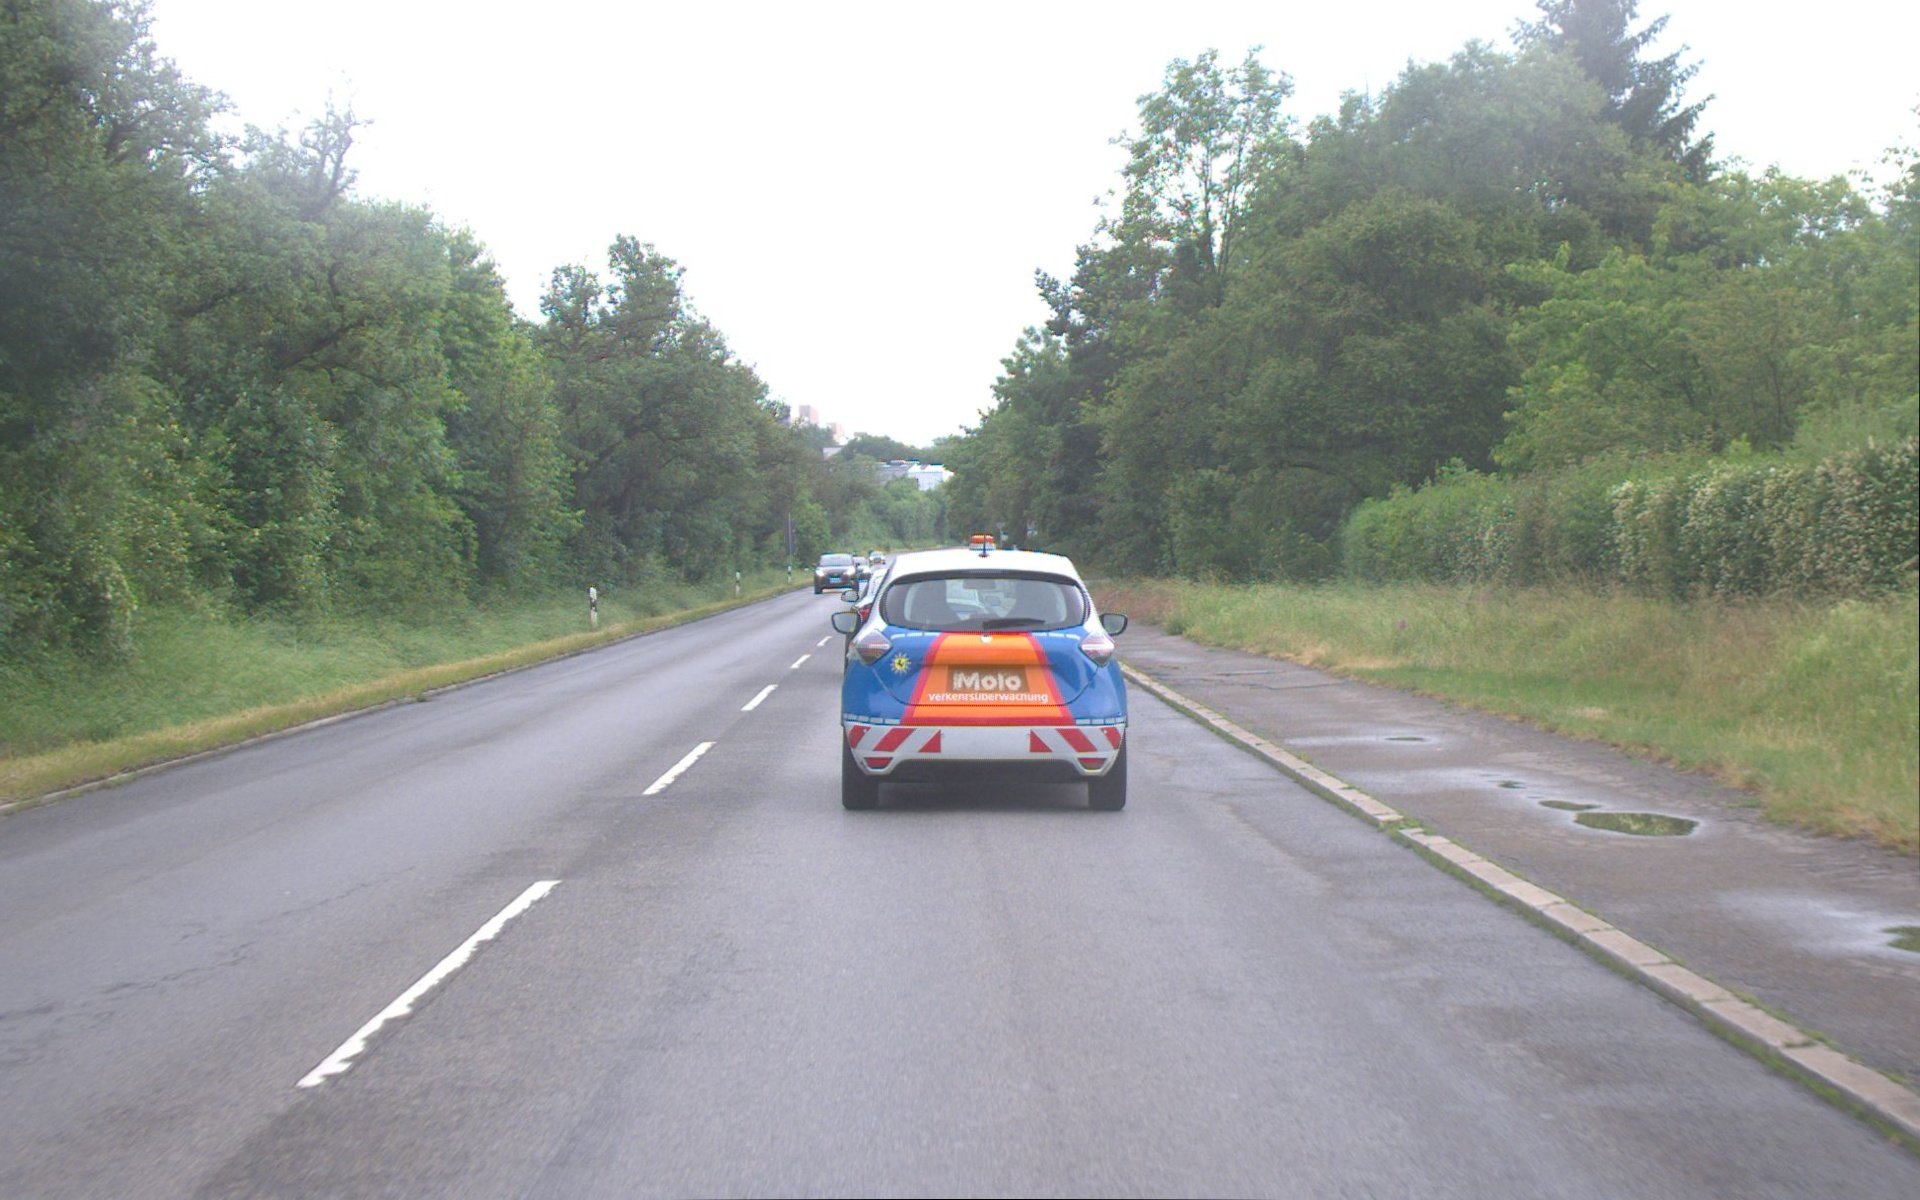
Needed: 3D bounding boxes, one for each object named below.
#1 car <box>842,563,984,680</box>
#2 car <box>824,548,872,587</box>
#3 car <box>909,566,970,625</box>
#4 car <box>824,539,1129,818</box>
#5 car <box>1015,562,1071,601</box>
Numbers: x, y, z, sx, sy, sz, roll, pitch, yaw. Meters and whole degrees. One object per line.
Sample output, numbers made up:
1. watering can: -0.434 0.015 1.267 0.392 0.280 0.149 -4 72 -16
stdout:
1. car: -0.536 0.227 41.243 1.598 1.282 3.476 -2 1 0
2. car: -4.712 -1.393 145.129 1.905 1.551 4.516 -2 1 -1
3. car: -0.634 -0.147 106.516 1.789 1.714 4.000 -2 1 0
4. car: 0.071 0.420 21.663 1.752 1.550 3.793 0 2 -1
5. car: 3.098 -0.695 129.355 1.993 1.371 4.000 -2 1 0
